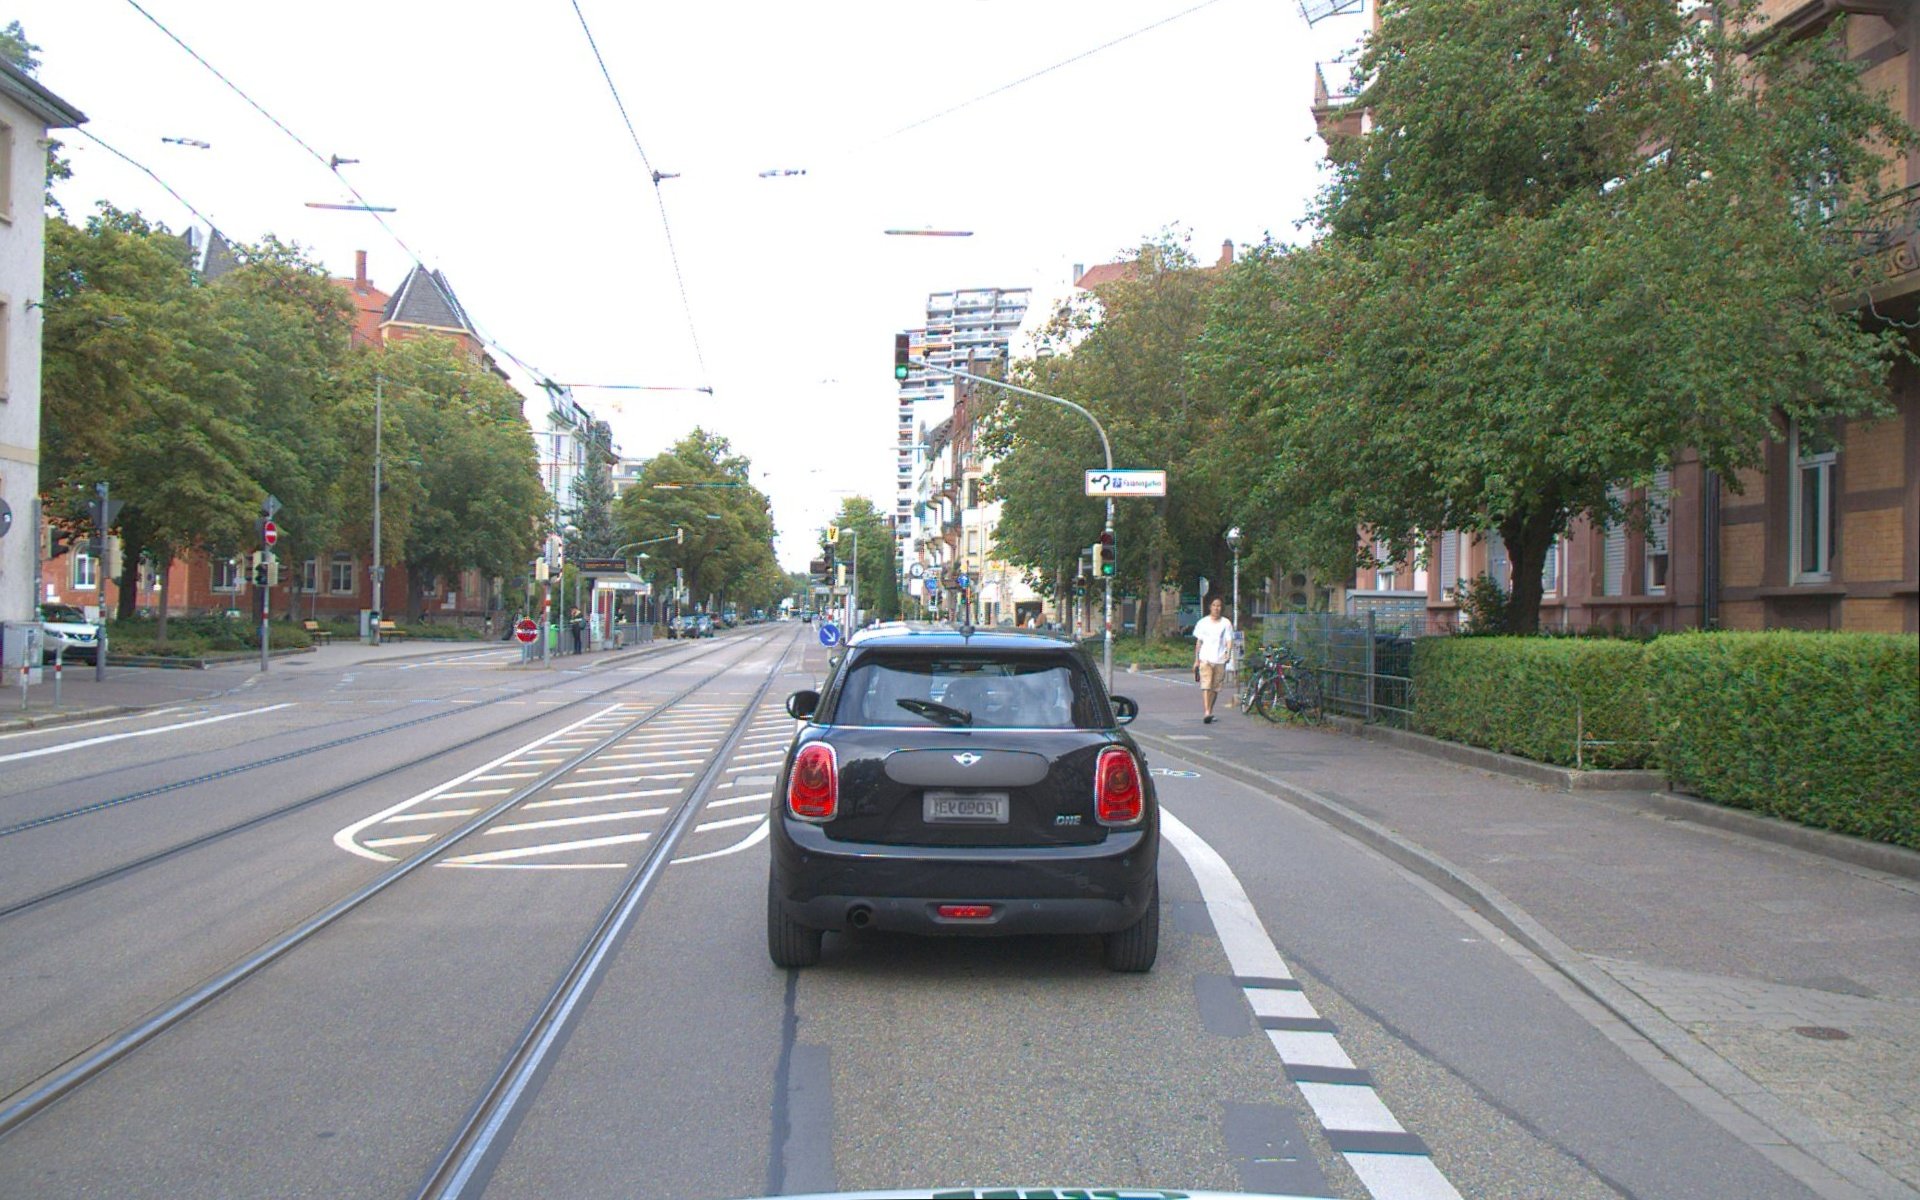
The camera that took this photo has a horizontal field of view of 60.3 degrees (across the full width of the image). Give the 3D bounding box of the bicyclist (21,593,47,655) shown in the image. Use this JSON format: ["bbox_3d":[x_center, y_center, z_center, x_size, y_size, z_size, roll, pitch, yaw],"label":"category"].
[{"bbox_3d":[-27.247,0.696,48.652,0.604,1.806,0.901,1,-1,-33],"label":"bicyclist"}]

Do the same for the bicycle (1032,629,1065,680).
[{"bbox_3d":[2.159,1.323,40.622,0.587,1.191,1.695,0,-1,-5],"label":"bicycle"}]

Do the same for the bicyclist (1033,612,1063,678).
[{"bbox_3d":[2.160,1.095,40.625,0.583,1.577,1.012,0,-1,-5],"label":"bicyclist"}]

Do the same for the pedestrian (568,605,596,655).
[{"bbox_3d":[-12.716,1.000,55.662,0.836,1.649,0.841,1,-1,-10],"label":"pedestrian"}]

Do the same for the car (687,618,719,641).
[{"bbox_3d":[-17.404,1.999,112.087,1.717,1.466,3.997,2,-1,-3],"label":"car"}]

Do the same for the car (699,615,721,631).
[{"bbox_3d":[-25.947,2.399,171.962,1.954,1.579,3.996,1,-1,-5],"label":"car"}]

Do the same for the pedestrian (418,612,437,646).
[{"bbox_3d":[-27.760,1.511,86.204,0.817,1.733,0.731,1,-1,-10],"label":"pedestrian"}]

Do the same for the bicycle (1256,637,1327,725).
[{"bbox_3d":[4.492,1.075,22.491,0.498,1.107,1.548,-3,0,-5],"label":"bicycle"}]

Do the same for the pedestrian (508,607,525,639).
[{"bbox_3d":[-24.081,1.227,89.875,0.817,1.733,0.731,1,-1,-10],"label":"pedestrian"}]

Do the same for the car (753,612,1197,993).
[{"bbox_3d":[0.018,0.811,8.431,1.716,1.466,3.999,1,-1,-1],"label":"car"}]

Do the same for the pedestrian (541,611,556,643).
[{"bbox_3d":[-22.655,1.472,91.035,0.680,1.749,0.757,0,-1,-3],"label":"pedestrian"}]

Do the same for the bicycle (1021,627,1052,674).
[{"bbox_3d":[2.005,1.328,43.498,0.670,1.191,1.695,0,-1,-3],"label":"bicycle"}]

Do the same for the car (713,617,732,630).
[{"bbox_3d":[-27.934,2.760,194.818,1.954,1.579,3.996,1,-1,-5],"label":"car"}]

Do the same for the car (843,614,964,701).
[{"bbox_3d":[-0.968,1.013,30.628,1.715,1.466,4.482,0,-1,5],"label":"car"}]

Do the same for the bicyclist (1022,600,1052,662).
[{"bbox_3d":[2.017,0.808,43.449,0.670,1.591,0.997,0,-1,-3],"label":"bicyclist"}]

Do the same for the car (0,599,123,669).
[{"bbox_3d":[-24.435,0.963,44.350,4.074,1.751,1.834,-2,-3,35],"label":"car"}]

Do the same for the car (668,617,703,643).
[{"bbox_3d":[-17.051,1.853,102.869,1.717,1.466,3.997,2,-1,-3],"label":"car"}]

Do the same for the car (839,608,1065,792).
[{"bbox_3d":[-0.119,0.865,15.932,1.888,1.536,3.998,1,-1,-2],"label":"car"}]

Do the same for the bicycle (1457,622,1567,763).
[{"bbox_3d":[5.389,0.875,16.228,0.505,1.304,1.549,0,-1,-3],"label":"bicycle"}]

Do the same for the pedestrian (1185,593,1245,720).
[{"bbox_3d":[3.670,0.801,23.858,0.715,1.785,0.949,0,-1,0],"label":"pedestrian"}]

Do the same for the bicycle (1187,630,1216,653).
[{"bbox_3d":[12.391,2.107,84.951,0.654,1.147,1.886,0,-1,37],"label":"bicycle"}]

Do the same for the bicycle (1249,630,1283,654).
[{"bbox_3d":[15.162,2.079,81.978,1.872,1.147,0.526,0,0,-36],"label":"bicycle"}]

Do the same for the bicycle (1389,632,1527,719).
[{"bbox_3d":[6.000,0.900,19.941,1.515,1.026,0.509,0,-1,-7],"label":"bicycle"}]

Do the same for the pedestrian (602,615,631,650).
[{"bbox_3d":[-13.223,1.256,63.612,1.039,1.316,0.983,1,-1,-10],"label":"pedestrian"}]

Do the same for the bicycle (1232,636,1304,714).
[{"bbox_3d":[4.680,1.124,25.238,0.658,1.126,1.670,0,-1,-5],"label":"bicycle"}]
